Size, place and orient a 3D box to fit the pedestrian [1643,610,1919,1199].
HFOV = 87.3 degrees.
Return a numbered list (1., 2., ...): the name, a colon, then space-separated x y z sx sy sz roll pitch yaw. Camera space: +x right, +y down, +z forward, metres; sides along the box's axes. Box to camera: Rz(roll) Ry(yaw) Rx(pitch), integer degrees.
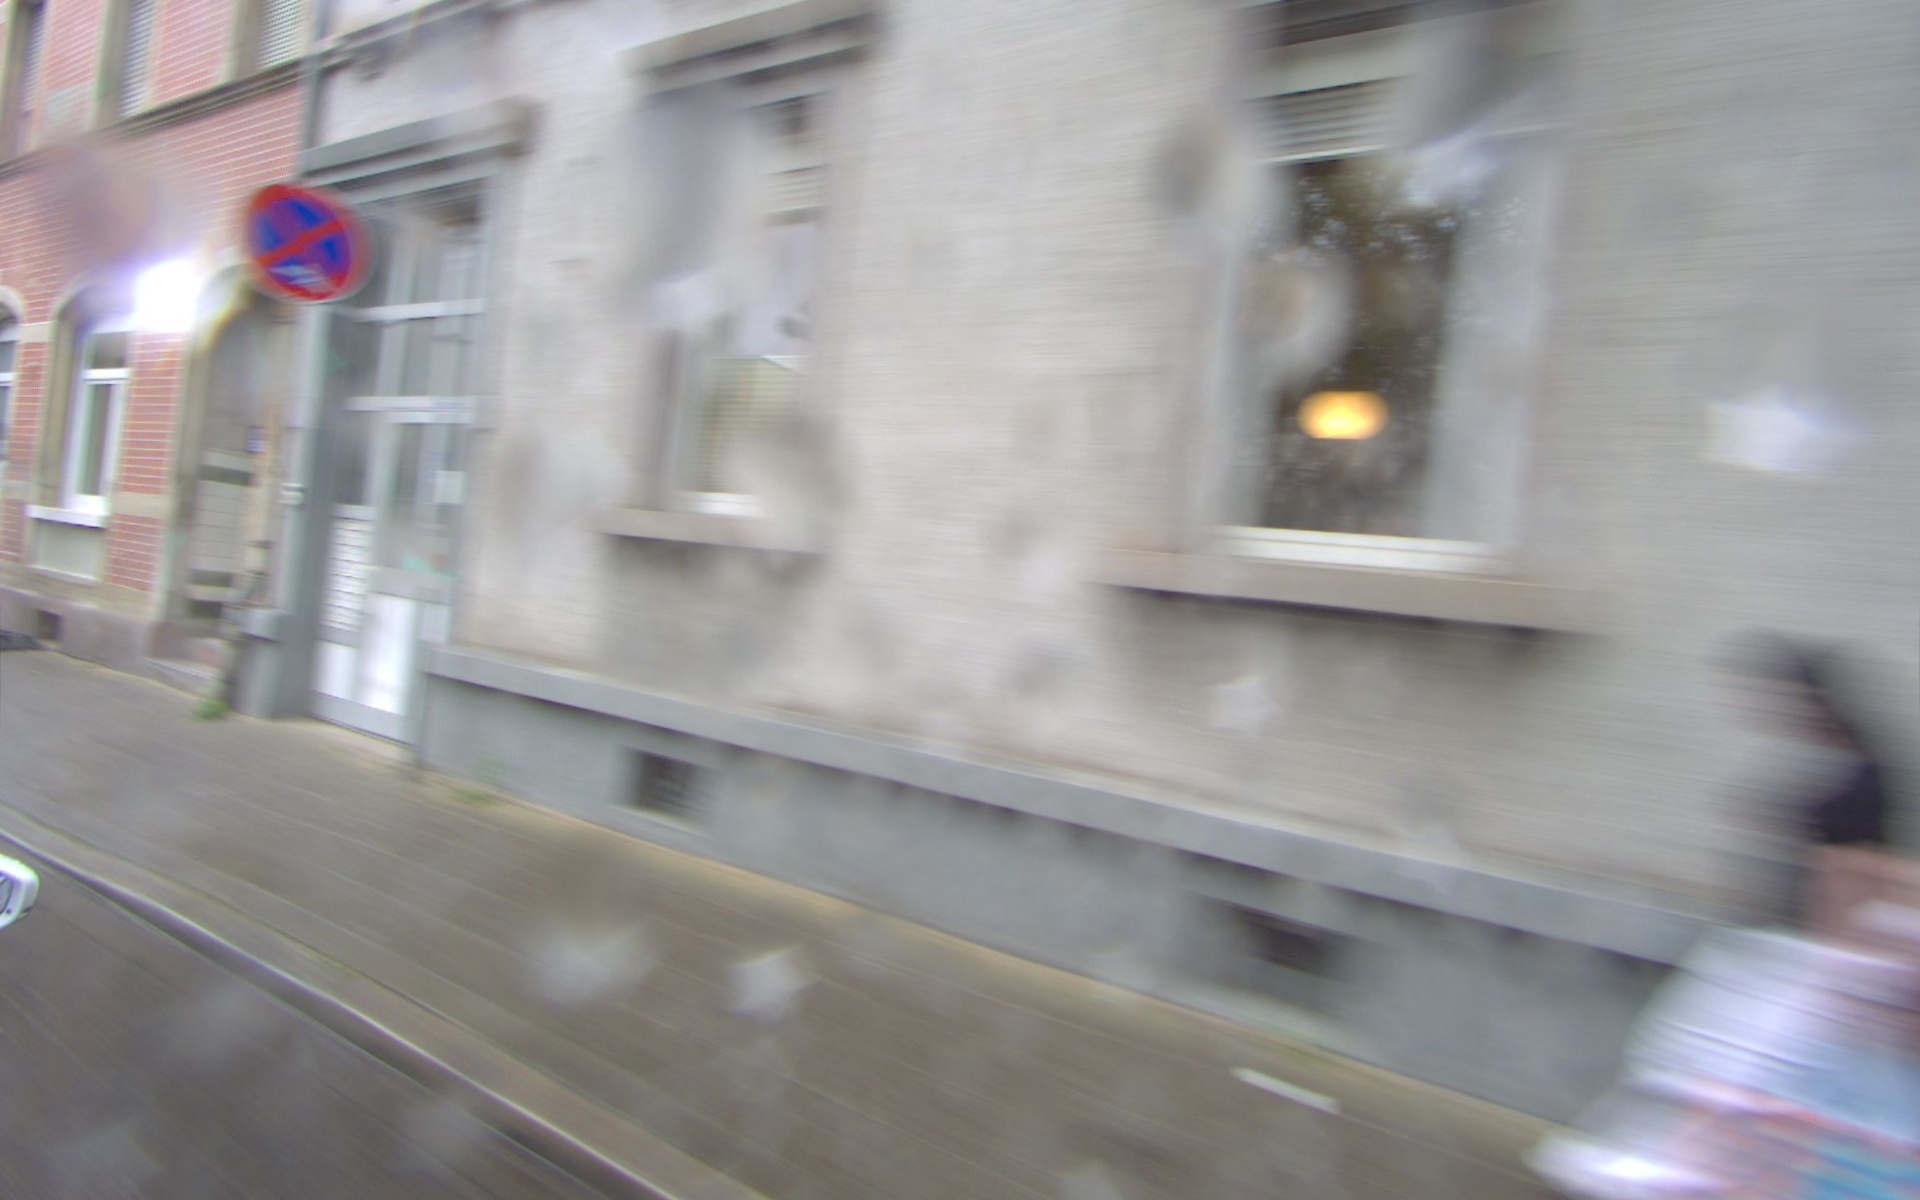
1. pedestrian: 2.060 0.848 2.338 0.567 1.596 0.847 7 4 31
